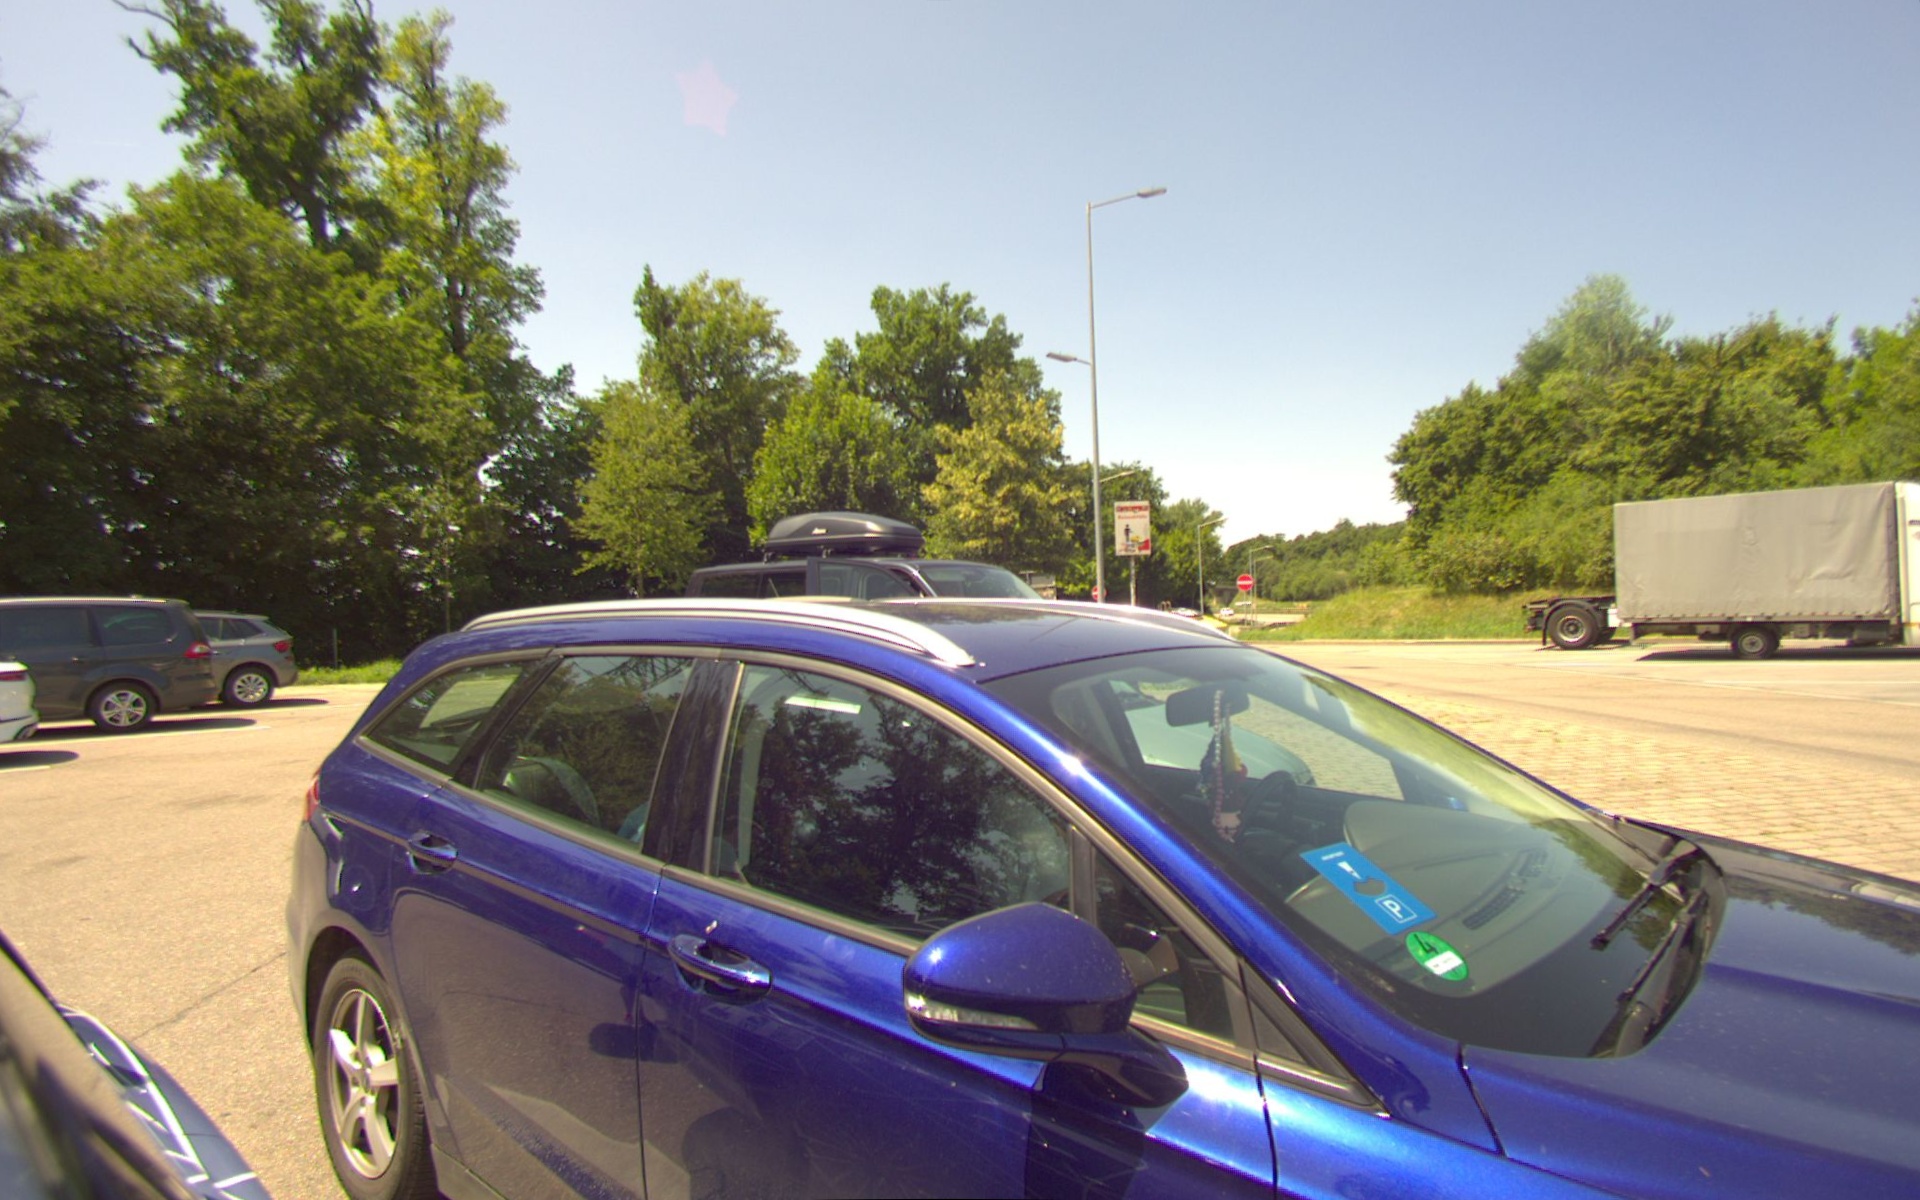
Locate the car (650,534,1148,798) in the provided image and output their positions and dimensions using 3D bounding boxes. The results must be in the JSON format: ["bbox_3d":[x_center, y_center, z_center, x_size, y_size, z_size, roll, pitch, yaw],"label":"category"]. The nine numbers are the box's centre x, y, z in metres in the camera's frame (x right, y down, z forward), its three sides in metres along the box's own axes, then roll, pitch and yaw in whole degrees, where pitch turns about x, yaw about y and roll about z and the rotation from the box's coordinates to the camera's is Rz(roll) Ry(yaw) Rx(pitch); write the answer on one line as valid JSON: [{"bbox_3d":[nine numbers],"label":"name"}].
[{"bbox_3d":[-0.728,0.534,9.401,4.426,1.875,2.022,-2,-1,40],"label":"car"}]

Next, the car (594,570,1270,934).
[{"bbox_3d":[-0.360,0.650,5.790,3.739,1.424,1.587,-2,-1,40],"label":"car"}]

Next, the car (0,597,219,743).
[{"bbox_3d":[-11.710,0.837,12.568,3.830,1.703,1.883,0,-2,-45],"label":"car"}]

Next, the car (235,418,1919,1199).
[{"bbox_3d":[0.245,0.650,2.069,4.426,1.455,1.763,-2,-1,40],"label":"car"}]

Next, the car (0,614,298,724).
[{"bbox_3d":[-12.607,0.974,15.607,3.753,1.488,1.743,0,-1,-45],"label":"car"}]

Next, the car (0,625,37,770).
[{"bbox_3d":[-10.956,0.944,9.180,3.753,1.377,1.804,0,-1,-45],"label":"car"}]

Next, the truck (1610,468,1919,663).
[{"bbox_3d":[16.712,-0.616,18.833,7.308,3.258,2.294,-5,-2,43],"label":"truck"}]

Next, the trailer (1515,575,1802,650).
[{"bbox_3d":[16.331,0.349,23.906,5.393,1.608,1.576,-2,-1,41],"label":"trailer"}]
